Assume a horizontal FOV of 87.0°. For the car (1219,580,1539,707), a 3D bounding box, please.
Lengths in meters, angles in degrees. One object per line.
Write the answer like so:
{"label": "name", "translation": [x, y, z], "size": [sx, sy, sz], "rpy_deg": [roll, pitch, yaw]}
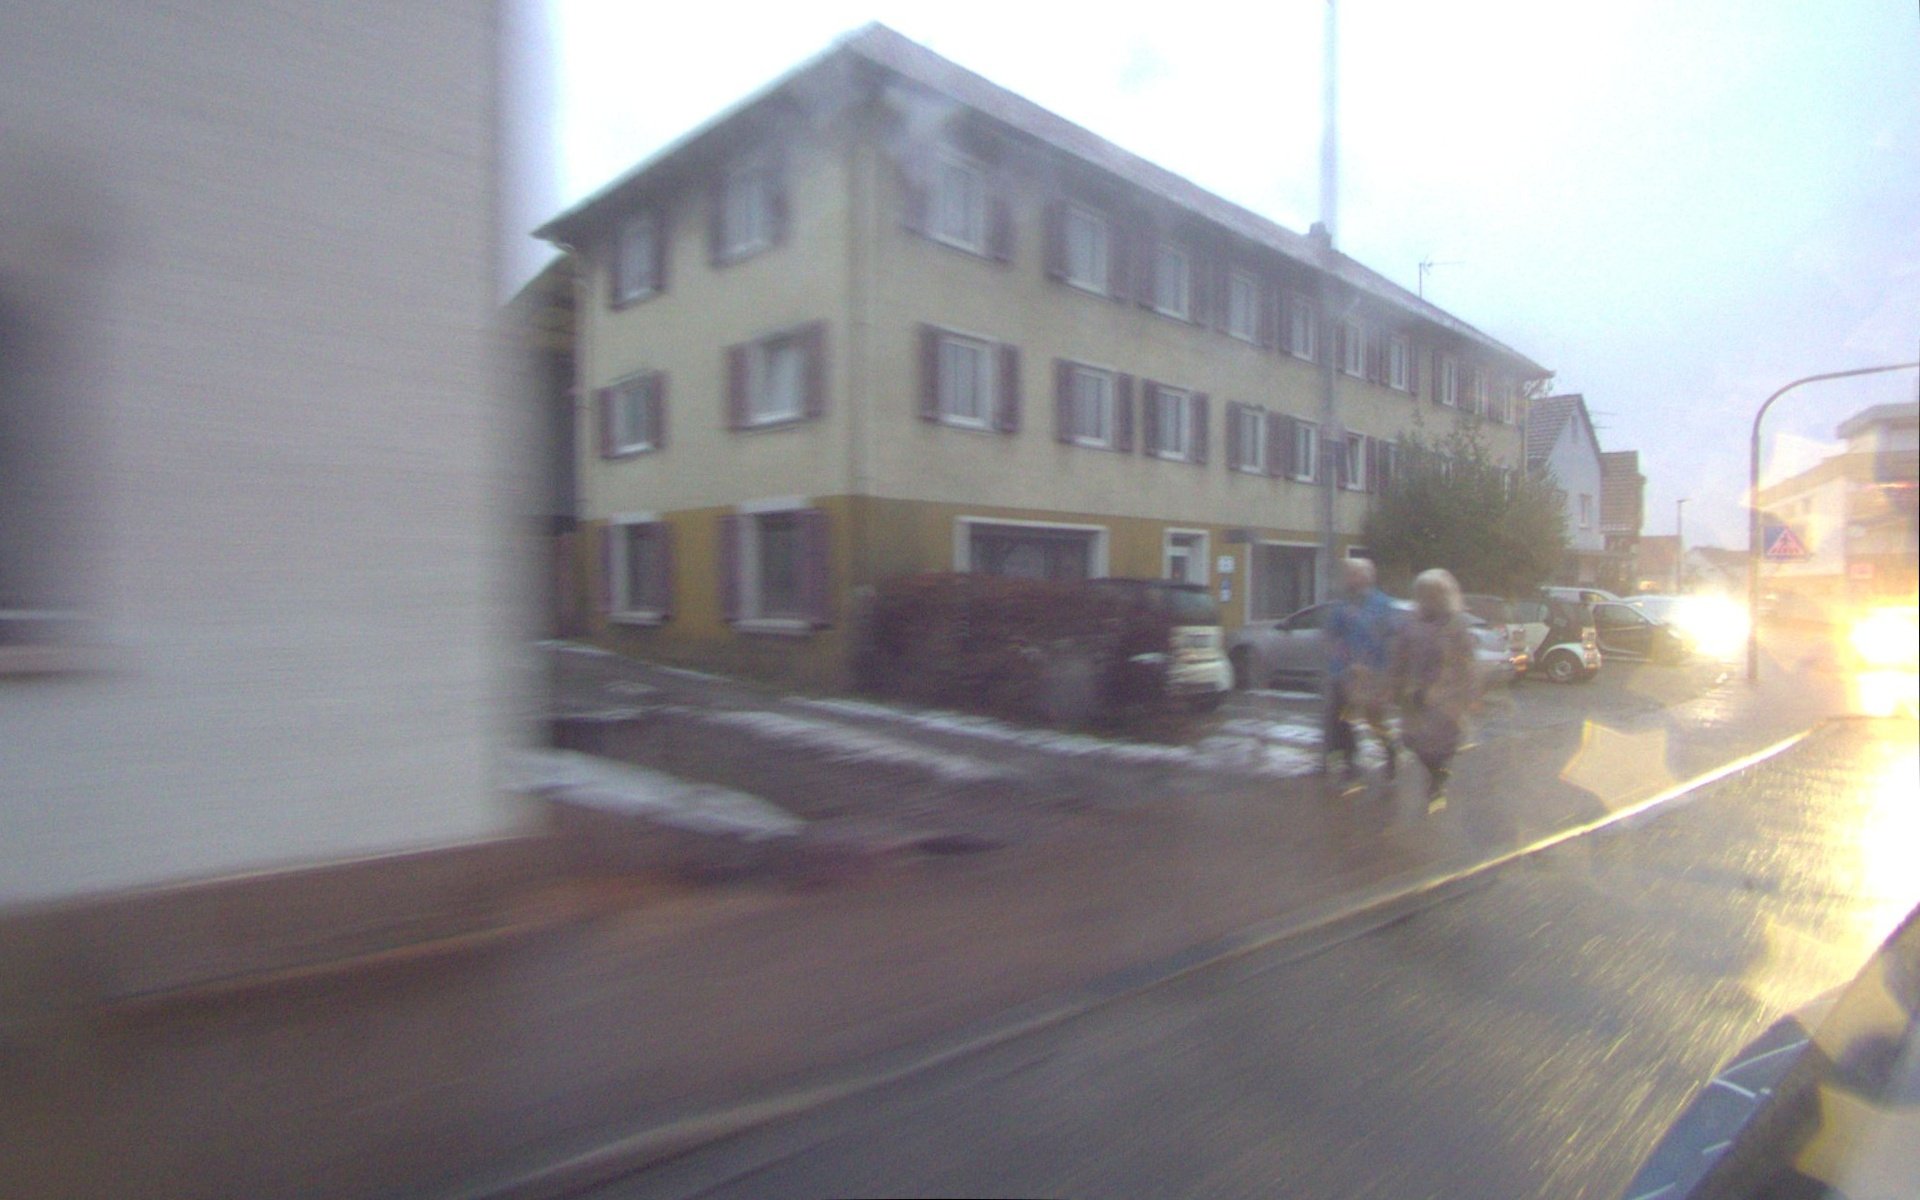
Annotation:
{"label": "car", "translation": [5.932, 0.518, 14.647], "size": [1.721, 1.492, 3.906], "rpy_deg": [1, 2, -42]}

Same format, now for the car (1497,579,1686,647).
{"label": "car", "translation": [20.823, 0.382, 33.547], "size": [4.984, 1.912, 1.906], "rpy_deg": [4, 2, 45]}

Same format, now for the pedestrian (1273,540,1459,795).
{"label": "pedestrian", "translation": [3.050, 0.458, 7.621], "size": [0.954, 1.754, 0.851], "rpy_deg": [1, 2, -38]}

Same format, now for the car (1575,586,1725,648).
{"label": "car", "translation": [23.595, 0.526, 34.659], "size": [4.038, 1.866, 1.837], "rpy_deg": [3, 2, 40]}

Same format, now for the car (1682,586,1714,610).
{"label": "car", "translation": [65.367, -0.137, 89.688], "size": [1.823, 2.039, 3.660], "rpy_deg": [-1, -1, 30]}

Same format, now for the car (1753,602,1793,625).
{"label": "car", "translation": [60.686, 0.999, 75.578], "size": [1.886, 1.637, 3.782], "rpy_deg": [-1, -1, 32]}

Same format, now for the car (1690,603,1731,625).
{"label": "car", "translation": [53.223, 0.981, 71.812], "size": [1.886, 1.485, 3.957], "rpy_deg": [-1, -1, 30]}

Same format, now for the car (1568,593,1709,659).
{"label": "car", "translation": [17.277, 0.629, 25.820], "size": [1.404, 1.492, 2.765], "rpy_deg": [1, 2, -45]}

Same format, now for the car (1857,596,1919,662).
{"label": "car", "translation": [25.304, 0.730, 26.625], "size": [1.910, 1.638, 3.823], "rpy_deg": [-1, -1, 32]}

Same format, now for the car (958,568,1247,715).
{"label": "car", "translation": [1.646, 0.406, 12.377], "size": [1.560, 1.492, 3.221], "rpy_deg": [1, 2, -42]}

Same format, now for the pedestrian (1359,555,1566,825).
{"label": "pedestrian", "translation": [3.494, 0.565, 7.055], "size": [0.974, 1.687, 0.870], "rpy_deg": [1, 2, -38]}

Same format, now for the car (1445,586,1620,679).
{"label": "car", "translation": [10.890, 0.578, 19.306], "size": [2.584, 1.566, 1.526], "rpy_deg": [3, 1, 45]}

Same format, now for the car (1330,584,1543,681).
{"label": "car", "translation": [8.404, 0.512, 17.987], "size": [1.523, 1.492, 3.069], "rpy_deg": [1, 2, -42]}
